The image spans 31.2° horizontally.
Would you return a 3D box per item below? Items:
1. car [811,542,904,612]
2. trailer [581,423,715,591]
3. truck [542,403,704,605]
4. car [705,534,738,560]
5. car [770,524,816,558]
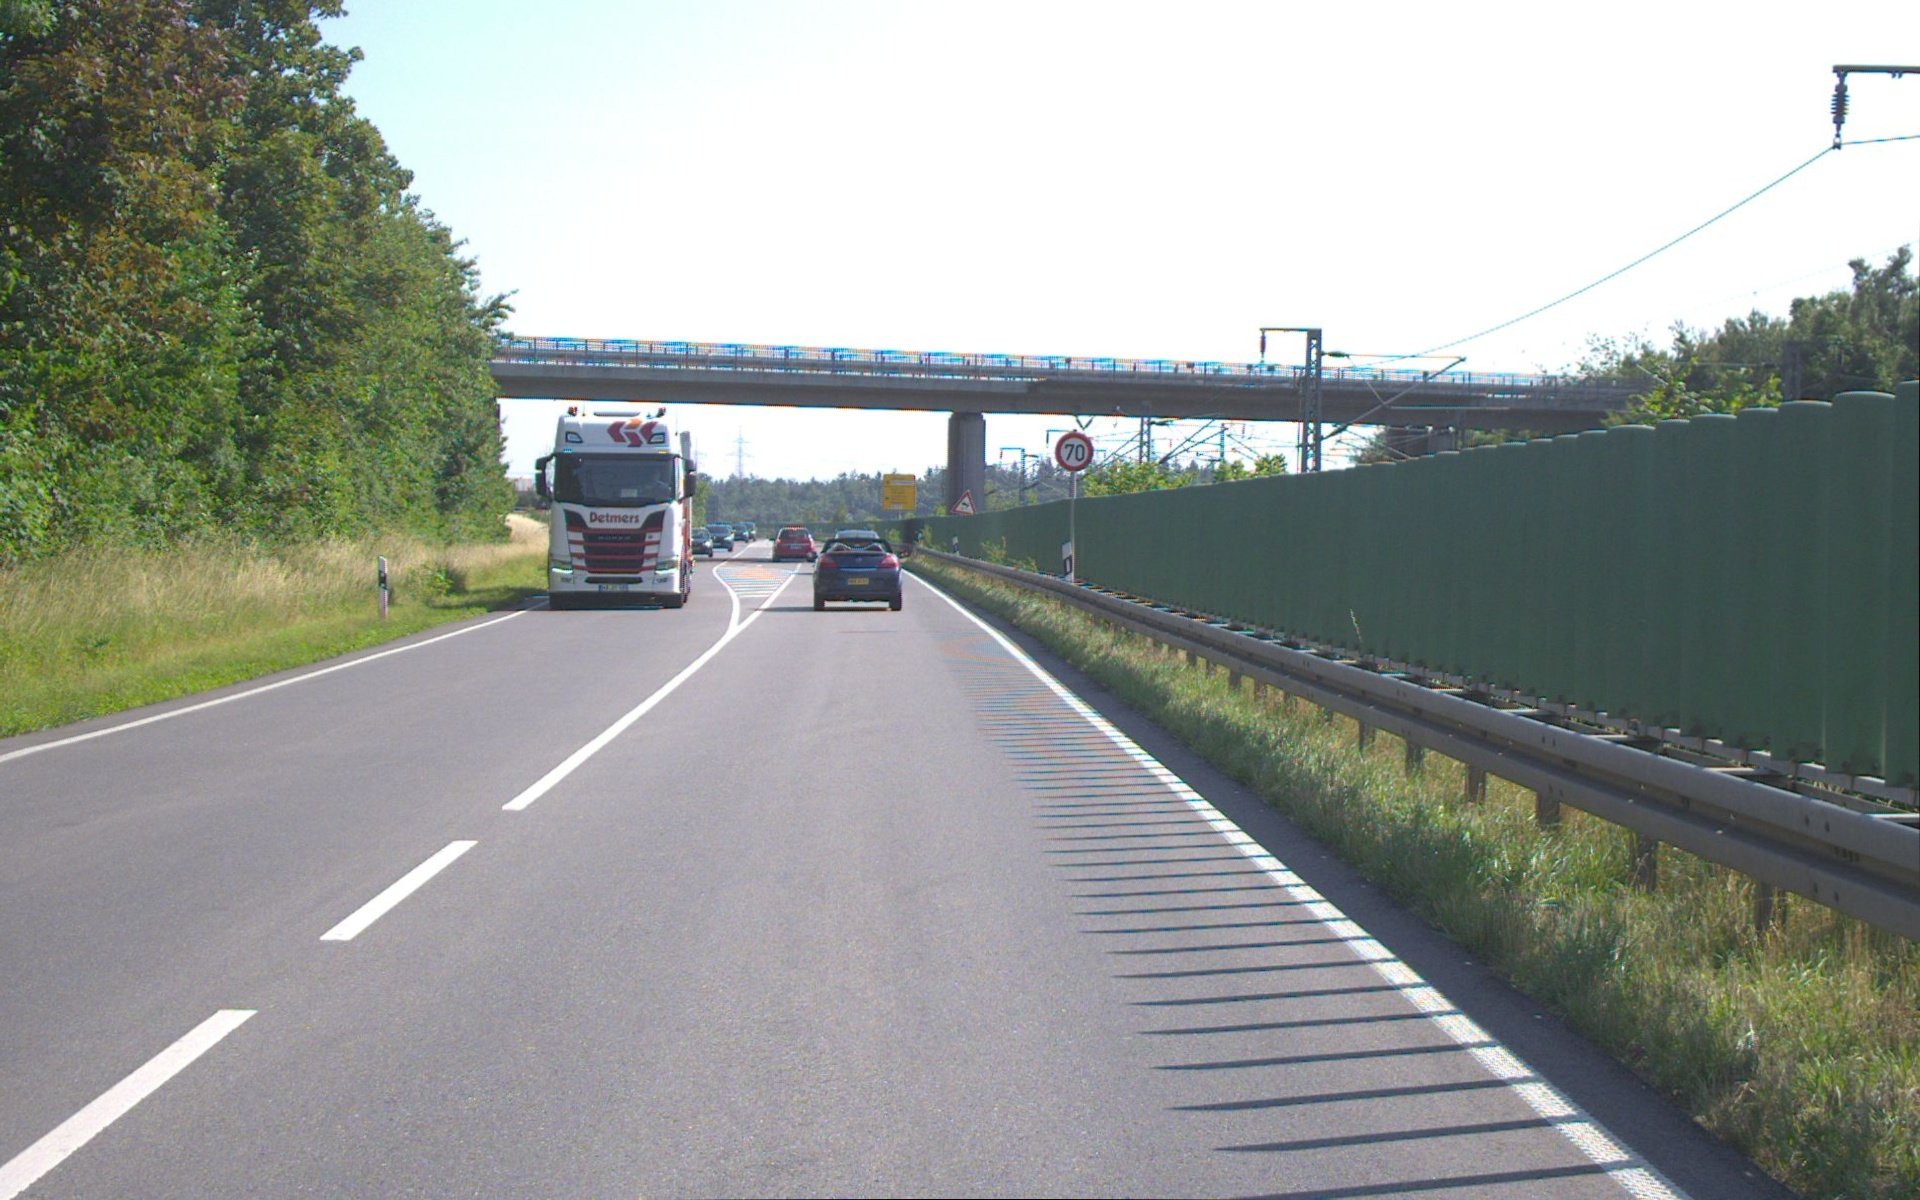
[{"bbox_3d":[-1.939,-0.449,64.476,1.663,1.257,4.000,1,1,-2],"label":"car"},{"bbox_3d":[-6.977,-2.084,77.799,2.559,3.583,8.293,1,1,-2],"label":"trailer"},{"bbox_3d":[-6.588,-1.876,68.426,2.559,3.676,10.489,1,1,-2],"label":"truck"},{"bbox_3d":[-14.710,-3.273,212.081,1.922,1.587,4.431,0,1,-5],"label":"car"},{"bbox_3d":[-7.150,-2.530,147.262,1.895,1.413,4.000,1,1,-2],"label":"car"}]
